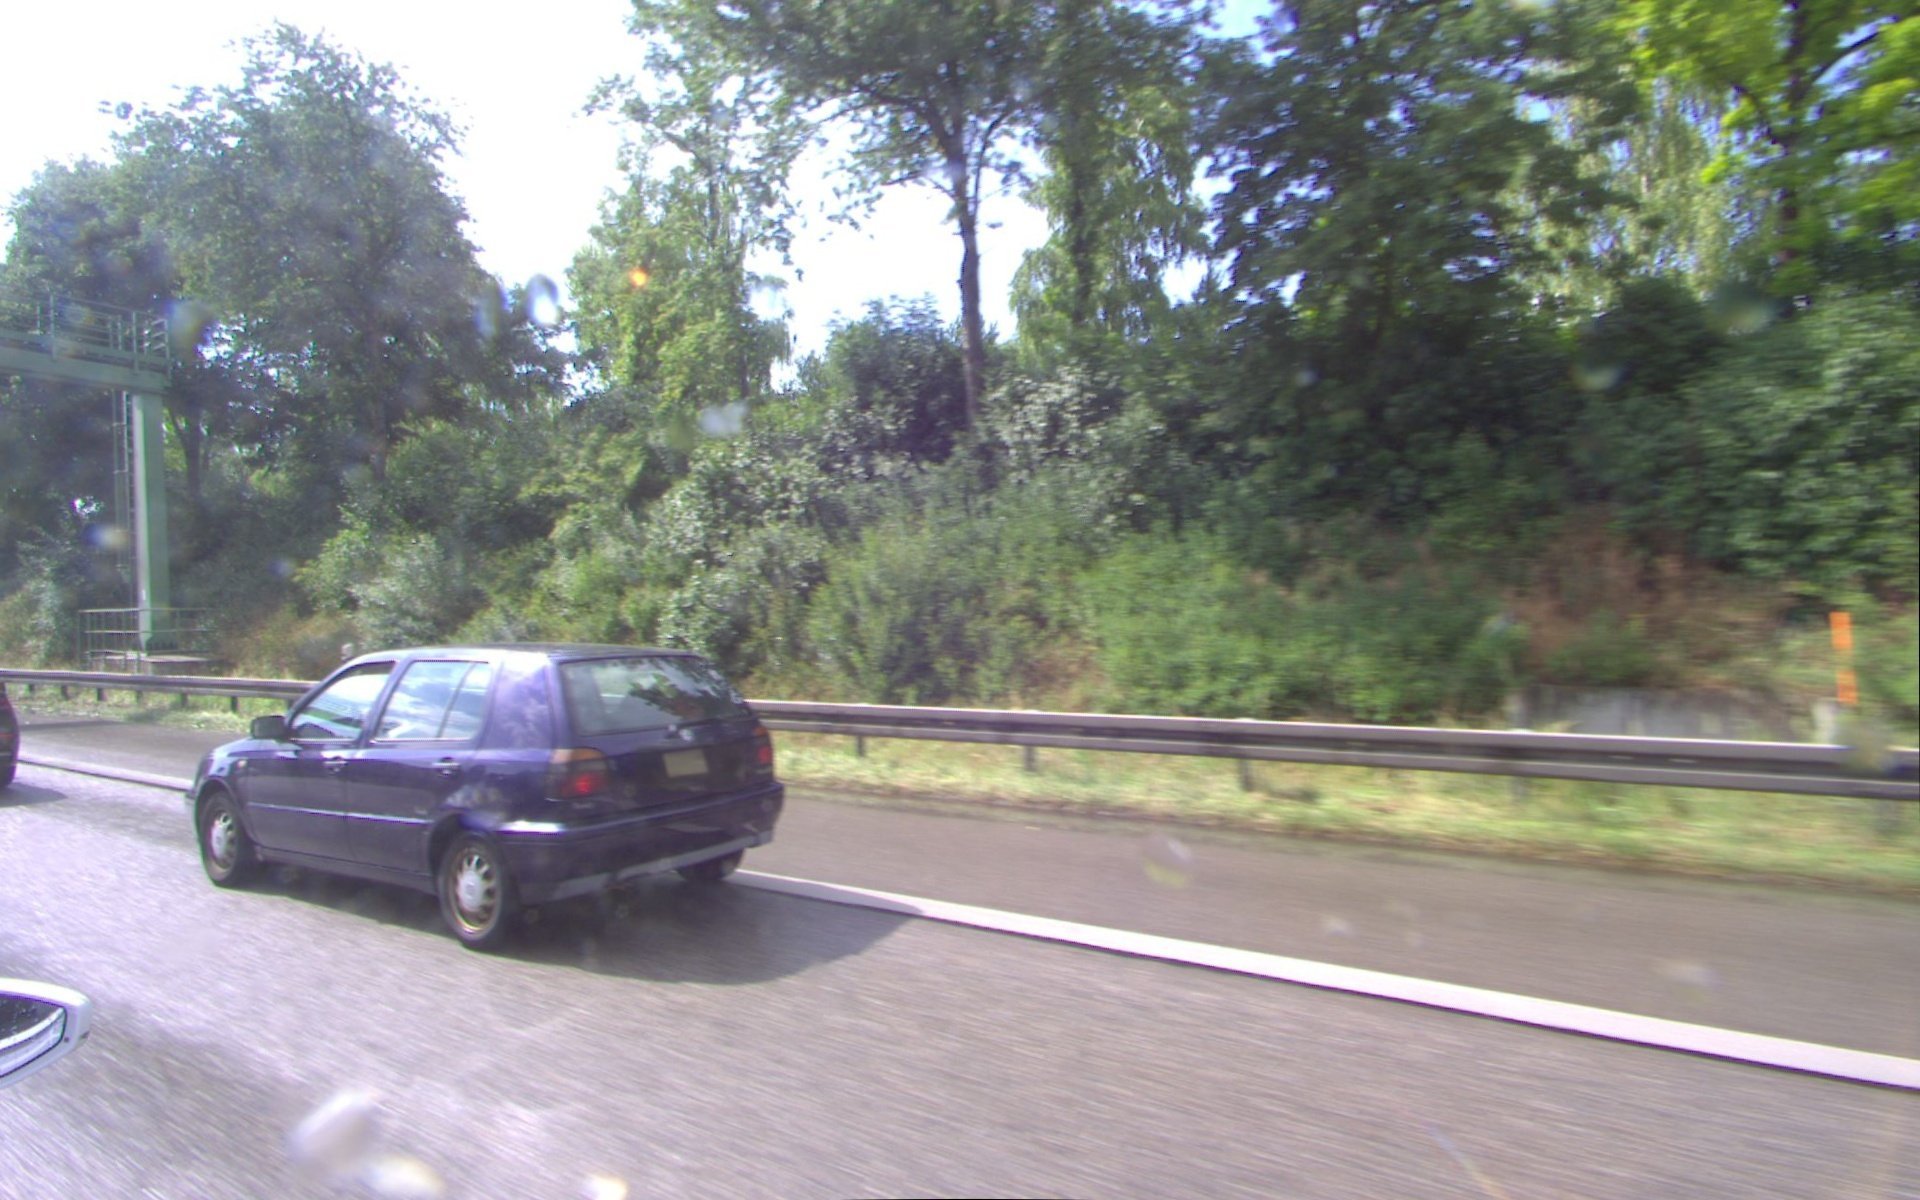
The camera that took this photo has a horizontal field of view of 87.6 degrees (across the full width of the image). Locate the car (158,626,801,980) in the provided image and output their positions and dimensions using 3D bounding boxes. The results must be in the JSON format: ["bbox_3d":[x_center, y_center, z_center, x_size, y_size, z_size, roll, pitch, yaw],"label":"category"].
[{"bbox_3d":[-2.890,0.901,5.865,3.689,1.475,1.648,-1,-1,31],"label":"car"}]

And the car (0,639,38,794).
[{"bbox_3d":[-10.946,1.091,9.798,4.305,1.414,1.752,-1,-1,32],"label":"car"}]
